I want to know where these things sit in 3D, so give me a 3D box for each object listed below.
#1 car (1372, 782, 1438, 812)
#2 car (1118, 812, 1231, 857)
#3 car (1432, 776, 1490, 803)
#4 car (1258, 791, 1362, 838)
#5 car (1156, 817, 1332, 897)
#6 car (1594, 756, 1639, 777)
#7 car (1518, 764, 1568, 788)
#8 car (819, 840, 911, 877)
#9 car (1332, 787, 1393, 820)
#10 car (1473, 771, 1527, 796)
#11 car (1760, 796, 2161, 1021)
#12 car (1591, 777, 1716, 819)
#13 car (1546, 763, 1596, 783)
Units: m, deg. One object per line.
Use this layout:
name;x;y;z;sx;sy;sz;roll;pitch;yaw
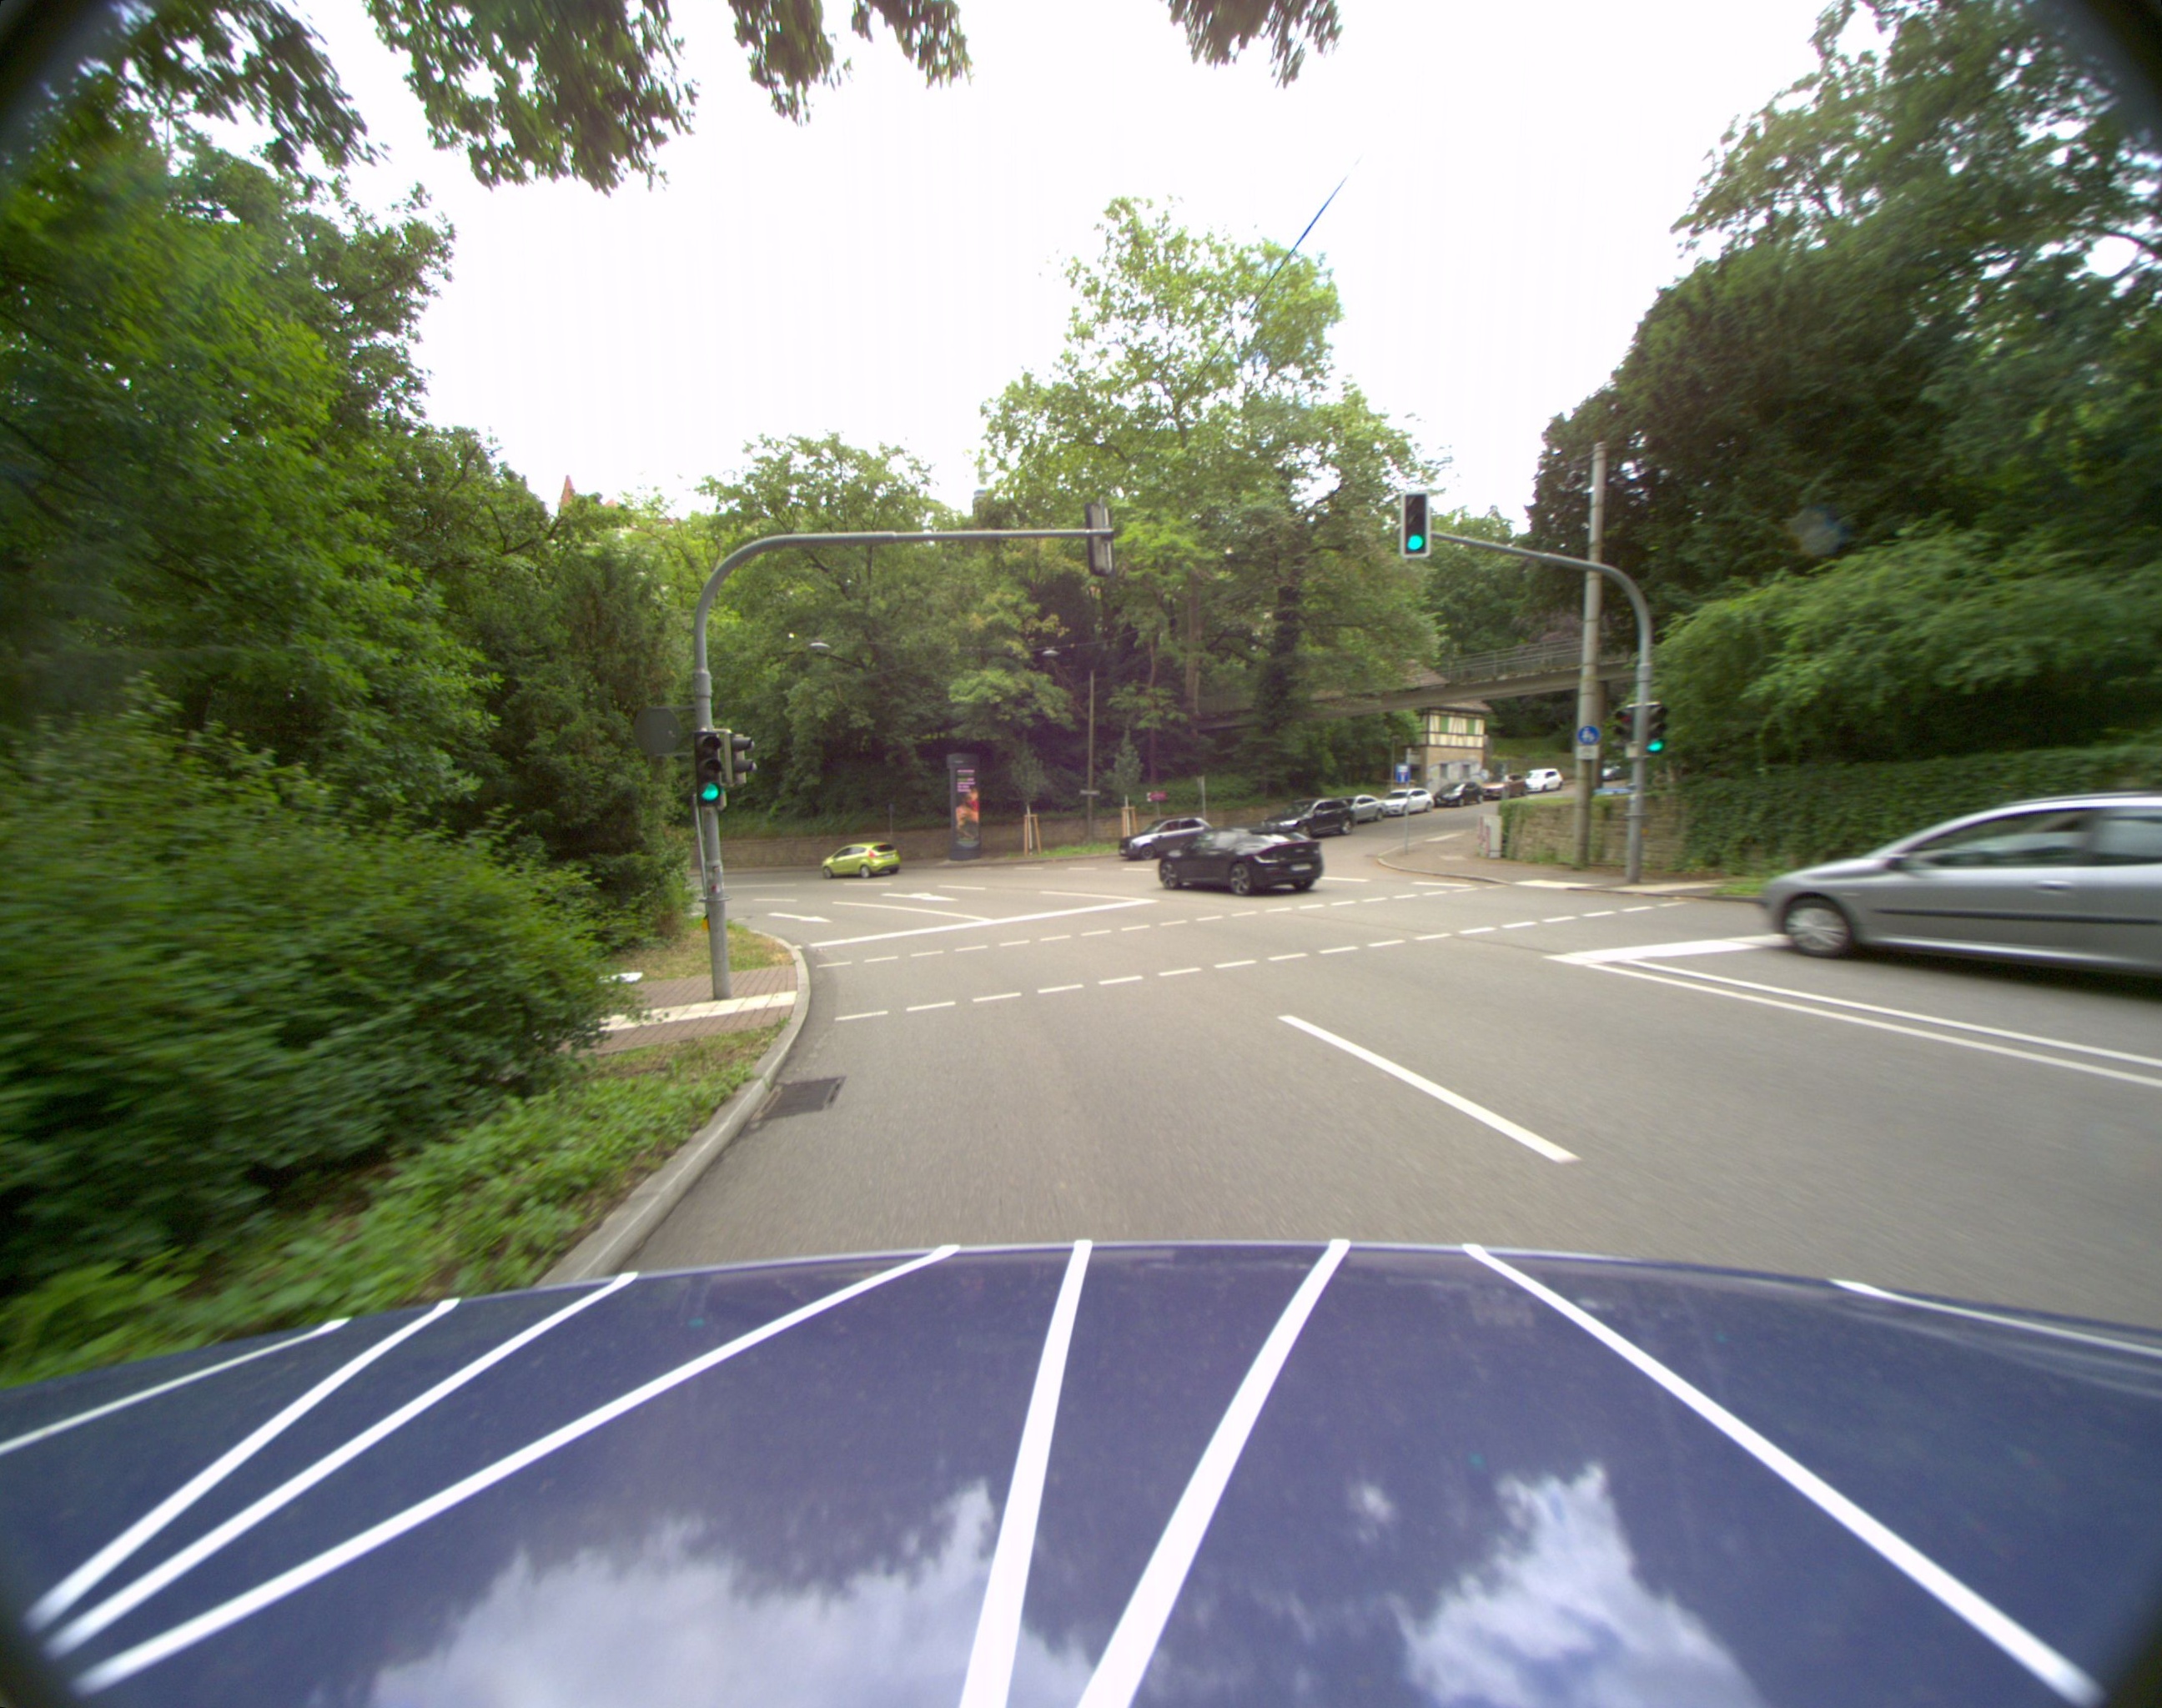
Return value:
car;18.525;-3.274;43.383;4.028;1.323;1.623;-9;9;-37
car;3.696;-0.818;30.223;4.002;1.351;1.750;-7;5;-18
car;23.337;-3.979;46.627;3.917;1.323;1.597;-9;9;-37
car;10.121;-1.759;33.499;4.548;1.676;1.803;-8;6;-33
car;3.652;0.017;17.883;1.637;1.535;4.388;-6;3;-25
car;40.592;-6.603;57.577;3.917;1.323;1.597;-9;9;-37
car;31.914;-5.368;52.439;3.917;1.323;1.597;-9;9;-36
car;-9.406;0.202;32.981;3.888;1.416;1.561;-1;6;34
car;14.971;-2.717;40.348;3.269;1.441;1.501;-10;10;-38
car;27.339;-4.600;49.554;3.917;1.323;1.597;-9;9;-37
car;7.662;0.309;5.649;1.611;1.410;3.751;-4;2;-7
car;24.081;-2.327;32.046;3.988;1.544;1.778;2;8;43
car;35.206;-5.821;54.566;3.644;1.222;1.590;-8;7;-32
